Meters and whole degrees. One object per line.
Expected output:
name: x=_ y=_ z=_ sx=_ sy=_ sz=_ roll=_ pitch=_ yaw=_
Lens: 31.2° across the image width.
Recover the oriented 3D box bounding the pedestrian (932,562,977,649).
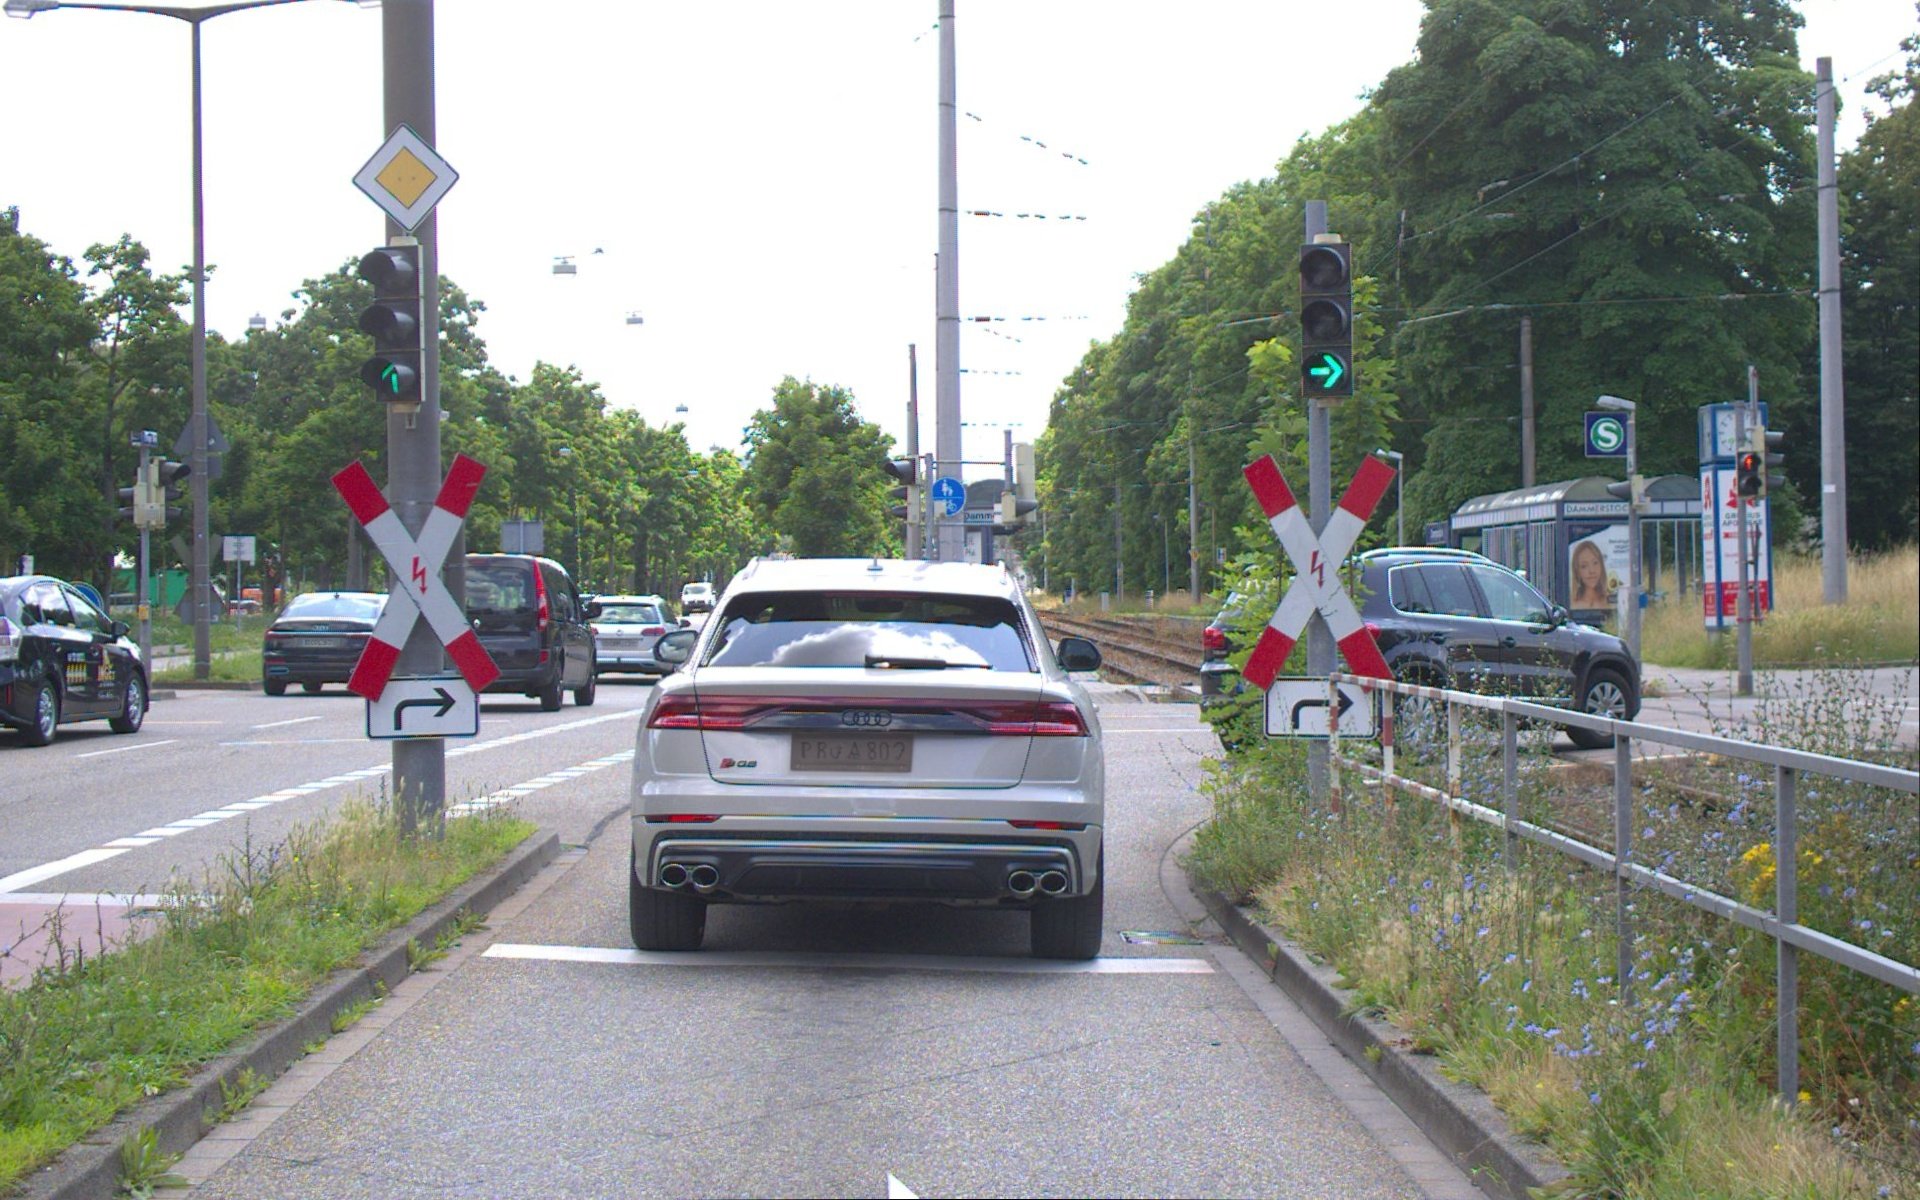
pedestrian: x=-0.104 y=0.095 z=60.045 sx=0.653 sy=1.508 sz=0.718 roll=-1 pitch=0 yaw=-9

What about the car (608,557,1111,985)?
car: x=-0.392 y=0.674 z=15.888 sx=1.981 sy=1.678 sz=4.574 roll=0 pitch=0 yaw=0

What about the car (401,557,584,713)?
car: x=-5.530 y=0.399 z=41.068 sx=1.759 sy=1.771 sz=3.909 roll=0 pitch=0 yaw=-2

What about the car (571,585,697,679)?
car: x=-5.491 y=0.518 z=58.283 sx=1.785 sy=1.520 sz=4.301 roll=0 pitch=0 yaw=-1

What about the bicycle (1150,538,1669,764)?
bicycle: x=3.682 y=0.356 z=27.672 sx=1.999 sy=1.669 sz=4.197 roll=-1 pitch=0 yaw=45

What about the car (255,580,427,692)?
car: x=-8.713 y=0.488 z=48.673 sx=1.864 sy=1.499 sz=4.000 roll=0 pitch=0 yaw=-3

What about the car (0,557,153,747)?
car: x=-9.082 y=0.452 z=32.403 sx=1.786 sy=1.662 sz=4.340 roll=0 pitch=0 yaw=2
